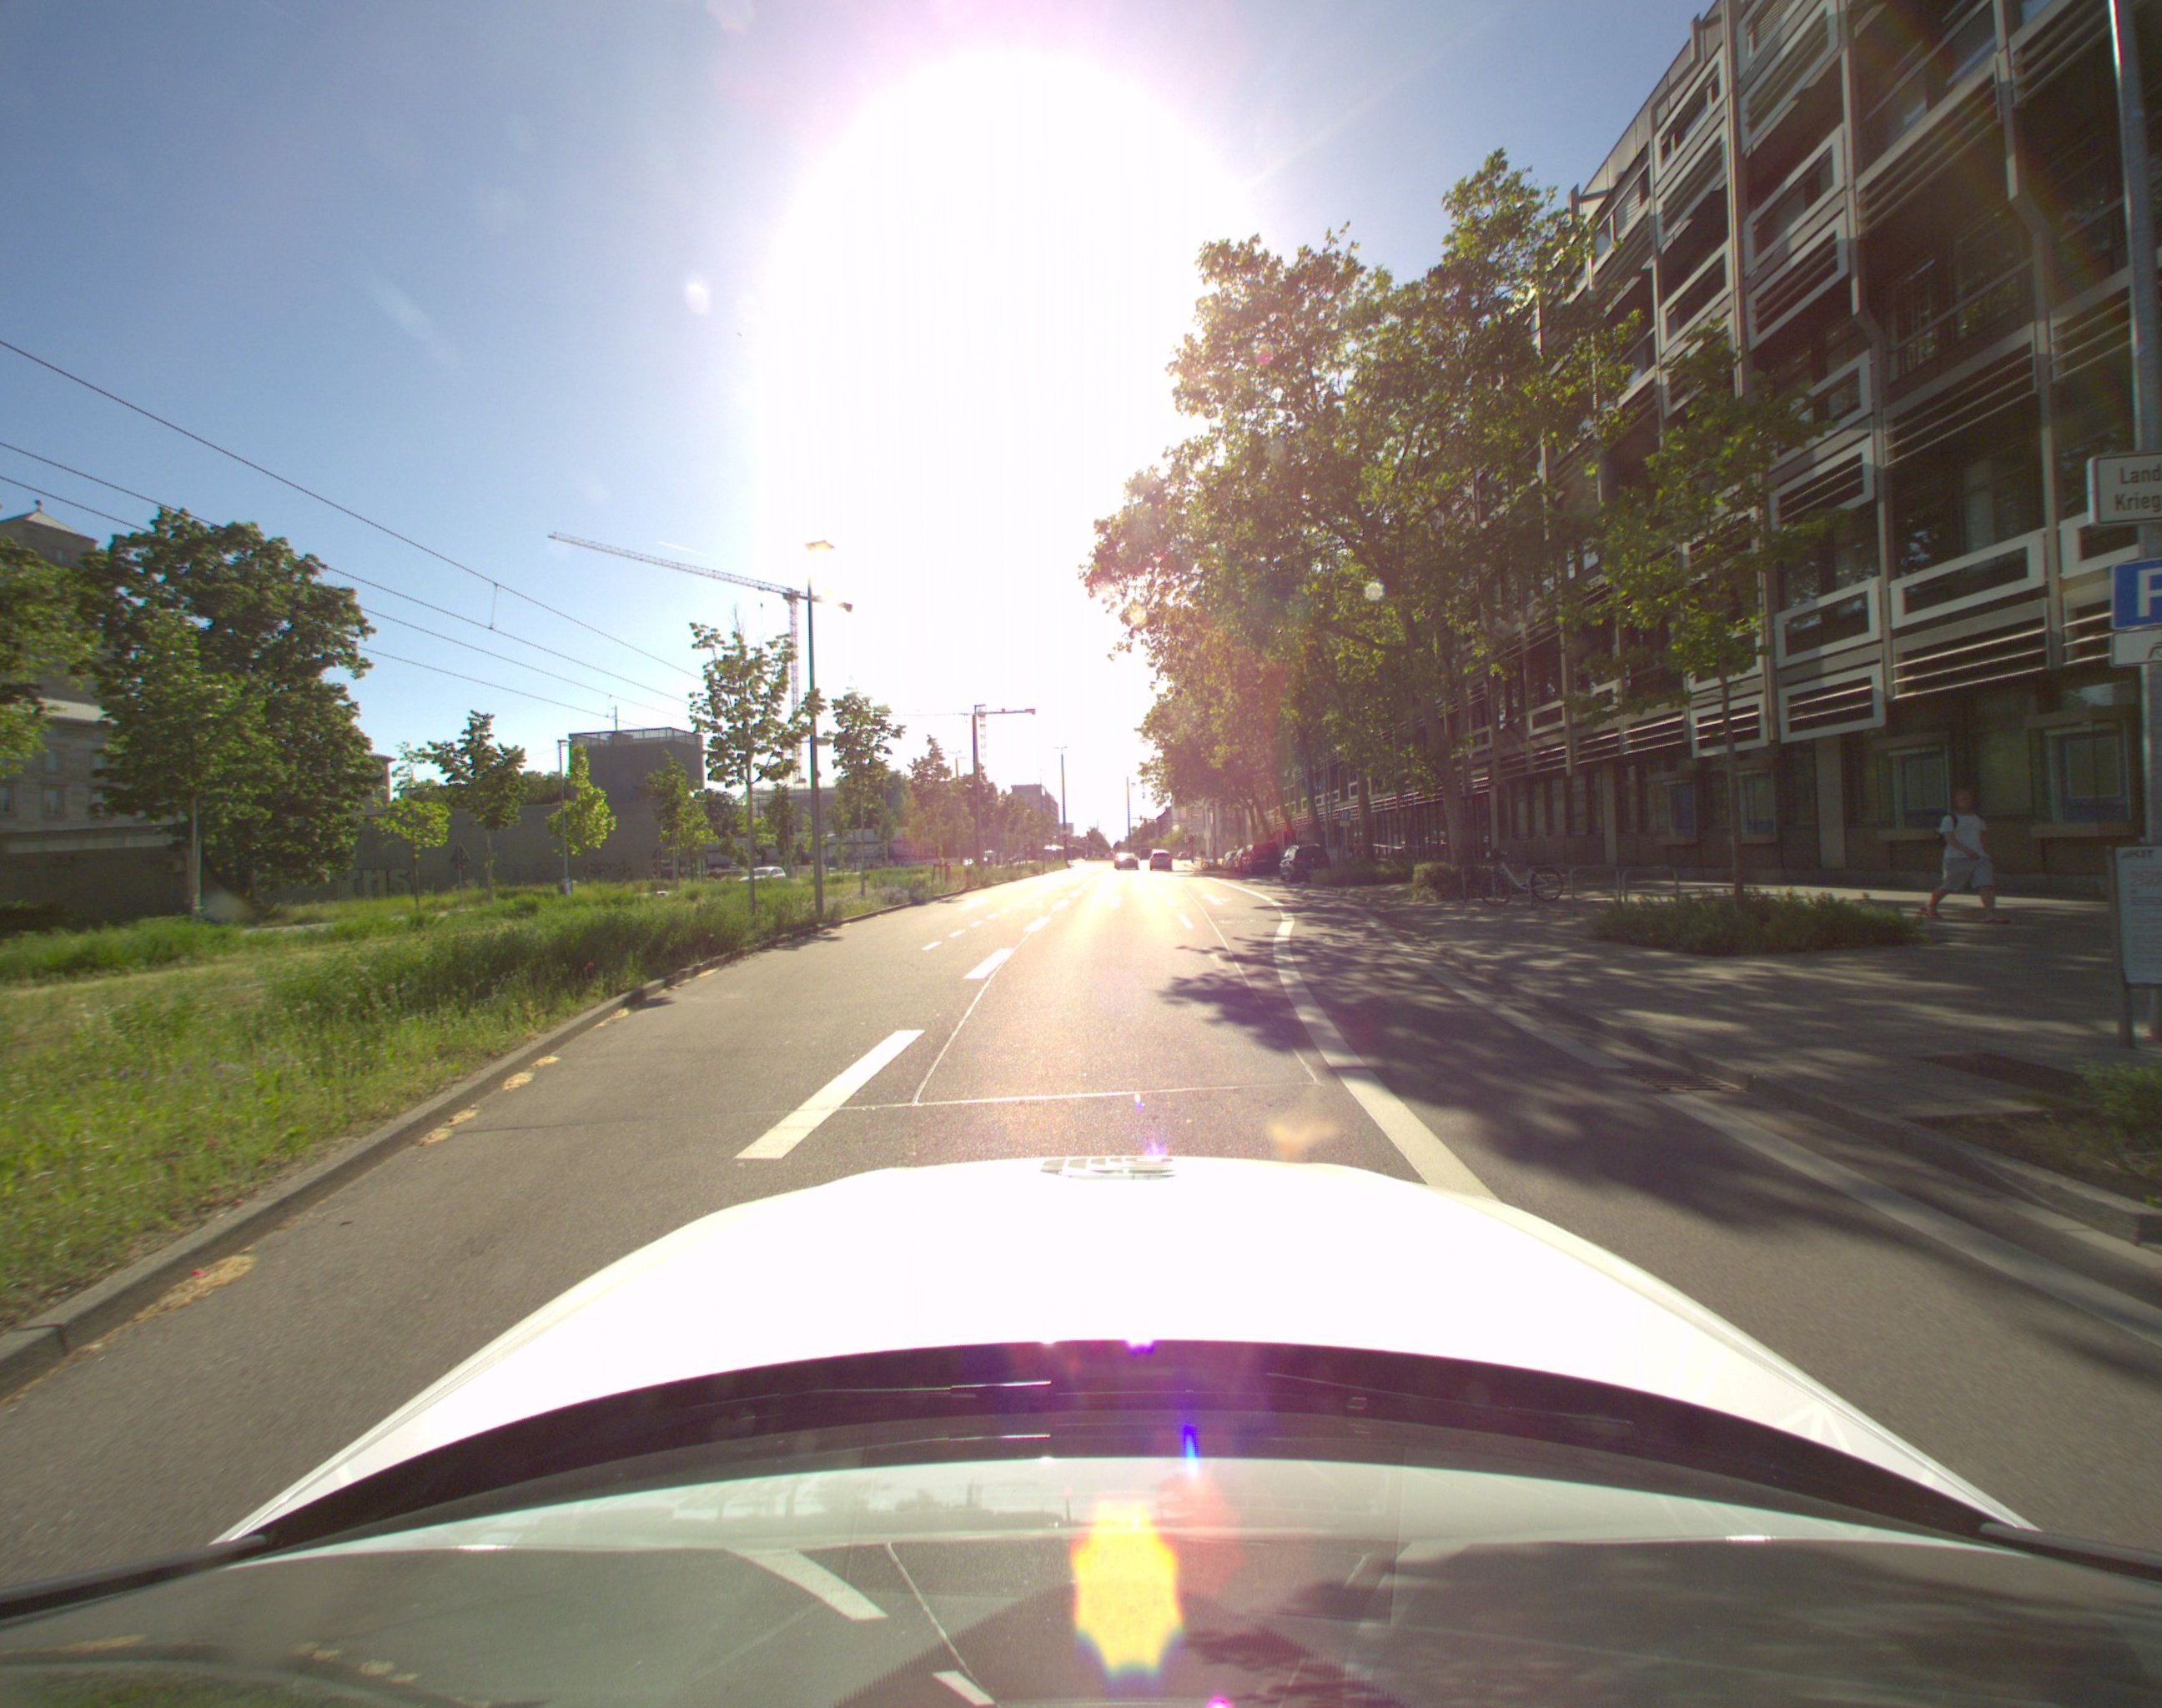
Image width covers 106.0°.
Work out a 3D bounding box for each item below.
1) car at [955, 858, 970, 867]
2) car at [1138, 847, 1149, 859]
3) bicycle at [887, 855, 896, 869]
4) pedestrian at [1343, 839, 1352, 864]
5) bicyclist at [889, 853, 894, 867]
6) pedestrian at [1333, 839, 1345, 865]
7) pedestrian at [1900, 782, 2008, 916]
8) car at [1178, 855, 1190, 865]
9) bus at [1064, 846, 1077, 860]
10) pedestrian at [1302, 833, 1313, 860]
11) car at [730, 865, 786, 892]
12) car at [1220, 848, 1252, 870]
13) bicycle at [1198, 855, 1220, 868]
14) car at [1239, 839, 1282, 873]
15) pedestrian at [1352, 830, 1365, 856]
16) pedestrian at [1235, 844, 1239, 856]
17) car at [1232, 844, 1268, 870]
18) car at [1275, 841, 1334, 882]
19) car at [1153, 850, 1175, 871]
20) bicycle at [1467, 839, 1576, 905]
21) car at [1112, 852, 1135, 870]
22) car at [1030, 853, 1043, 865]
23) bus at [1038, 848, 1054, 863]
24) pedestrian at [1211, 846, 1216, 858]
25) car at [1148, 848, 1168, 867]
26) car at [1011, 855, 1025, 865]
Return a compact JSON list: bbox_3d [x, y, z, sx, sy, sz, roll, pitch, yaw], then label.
[{"bbox_3d":[-21.216,1.601,146.111,1.830,1.612,3.898,0,-1,3],"label":"car"},{"bbox_3d":[11.019,-0.184,144.285,1.985,2.014,4.004,0,-1,4],"label":"car"},{"bbox_3d":[-20.701,0.838,88.787,0.358,1.455,1.915,-2,0,4],"label":"bicycle"},{"bbox_3d":[16.680,-0.150,50.892,0.314,1.584,0.500,-2,0,-5],"label":"pedestrian"},{"bbox_3d":[-20.672,0.659,88.838,0.392,1.454,0.540,0,0,2],"label":"bicyclist"},{"bbox_3d":[16.121,-0.121,50.887,0.504,1.584,0.634,-2,0,-5],"label":"pedestrian"},{"bbox_3d":[11.666,-0.065,10.902,0.509,1.701,0.774,-4,0,2],"label":"pedestrian"},{"bbox_3d":[17.420,0.970,138.021,1.656,1.649,3.702,0,-1,2],"label":"car"},{"bbox_3d":[-2.341,-0.248,181.644,2.618,2.959,9.899,0,-1,1],"label":"bus"},{"bbox_3d":[16.381,-0.545,58.907,0.674,1.916,0.557,0,-1,3],"label":"pedestrian"},{"bbox_3d":[-18.977,1.427,47.969,1.627,1.398,3.835,-2,0,2],"label":"car"},{"bbox_3d":[11.339,0.310,59.782,1.696,1.492,4.605,-2,0,4],"label":"car"},{"bbox_3d":[10.739,0.628,68.288,1.688,0.957,0.478,-3,0,-1],"label":"bicycle"},{"bbox_3d":[10.425,0.095,47.486,1.697,1.790,4.196,-4,0,4],"label":"car"},{"bbox_3d":[17.333,-0.711,50.884,0.551,1.603,0.574,-2,0,3],"label":"pedestrian"},{"bbox_3d":[19.672,-0.517,102.652,0.558,1.440,0.633,0,-1,10],"label":"pedestrian"},{"bbox_3d":[10.912,0.171,52.819,1.696,1.563,4.196,-2,0,4],"label":"car"},{"bbox_3d":[9.763,0.288,35.837,1.696,1.643,4.643,-2,0,5],"label":"car"},{"bbox_3d":[6.924,0.515,68.055,1.713,1.618,4.192,-2,0,5],"label":"car"},{"bbox_3d":[9.454,0.384,17.518,1.931,1.236,0.579,-5,0,0],"label":"bicycle"},{"bbox_3d":[3.774,0.631,72.668,1.904,1.486,4.012,-2,0,3],"label":"car"},{"bbox_3d":[-7.176,0.813,132.861,1.890,1.816,4.000,0,-1,0],"label":"car"},{"bbox_3d":[-7.095,0.328,165.436,2.618,2.783,8.845,0,-1,1],"label":"bus"},{"bbox_3d":[15.664,-0.196,96.044,0.558,1.440,0.633,0,-1,10],"label":"pedestrian"},{"bbox_3d":[7.801,0.329,82.715,1.715,1.782,4.188,-2,0,2],"label":"car"},{"bbox_3d":[-8.077,0.777,104.387,1.371,1.178,3.222,0,-1,3],"label":"car"}]
